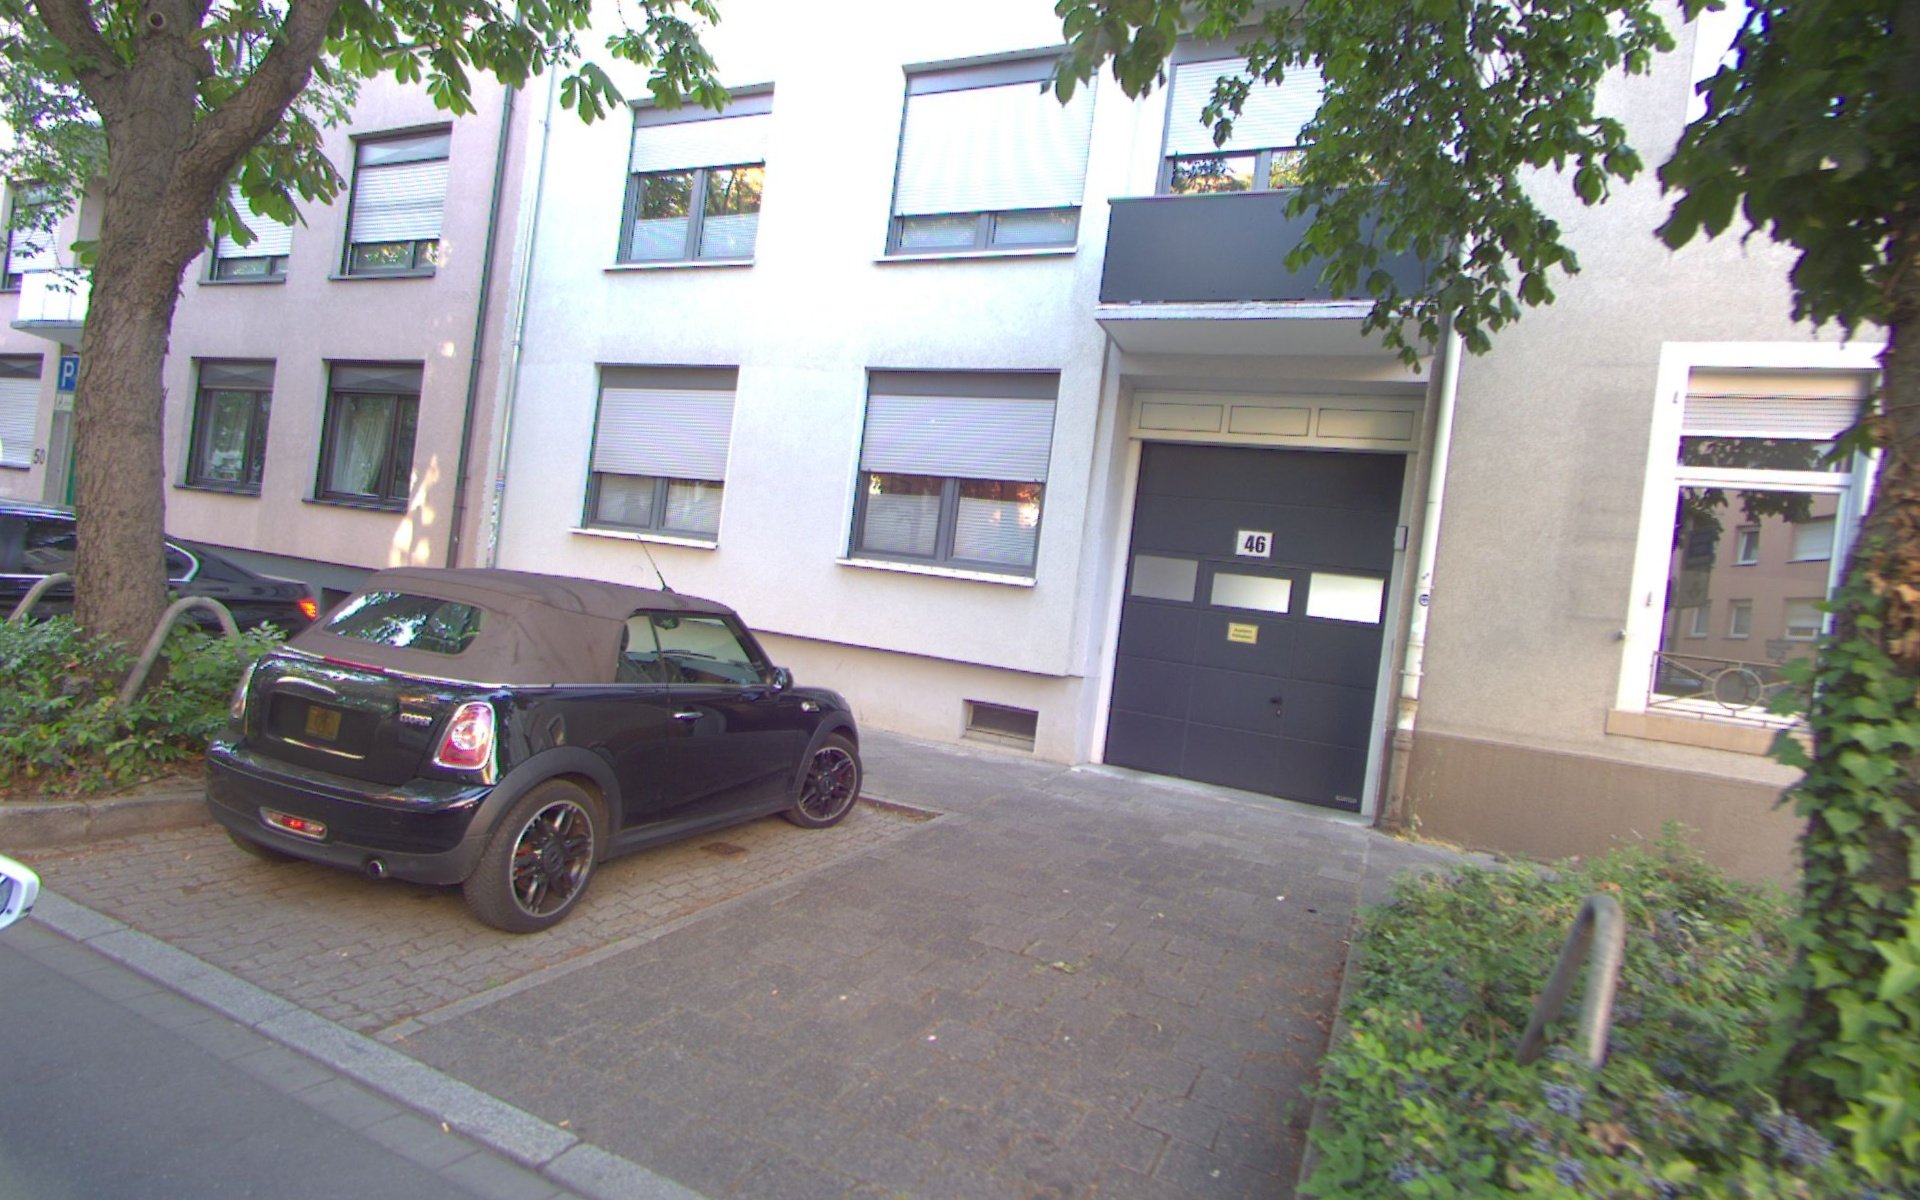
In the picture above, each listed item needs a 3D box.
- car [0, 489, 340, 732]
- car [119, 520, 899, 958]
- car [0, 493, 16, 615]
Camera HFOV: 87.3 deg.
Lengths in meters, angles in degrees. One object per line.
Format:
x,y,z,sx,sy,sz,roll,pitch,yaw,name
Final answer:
-6.822,-0.049,6.255,1.768,1.497,4.758,7,-1,26,car
-1.913,0.568,5.443,1.634,1.380,3.622,7,-1,22,car
-13.246,-0.780,10.949,1.634,1.494,3.921,7,-1,24,car
